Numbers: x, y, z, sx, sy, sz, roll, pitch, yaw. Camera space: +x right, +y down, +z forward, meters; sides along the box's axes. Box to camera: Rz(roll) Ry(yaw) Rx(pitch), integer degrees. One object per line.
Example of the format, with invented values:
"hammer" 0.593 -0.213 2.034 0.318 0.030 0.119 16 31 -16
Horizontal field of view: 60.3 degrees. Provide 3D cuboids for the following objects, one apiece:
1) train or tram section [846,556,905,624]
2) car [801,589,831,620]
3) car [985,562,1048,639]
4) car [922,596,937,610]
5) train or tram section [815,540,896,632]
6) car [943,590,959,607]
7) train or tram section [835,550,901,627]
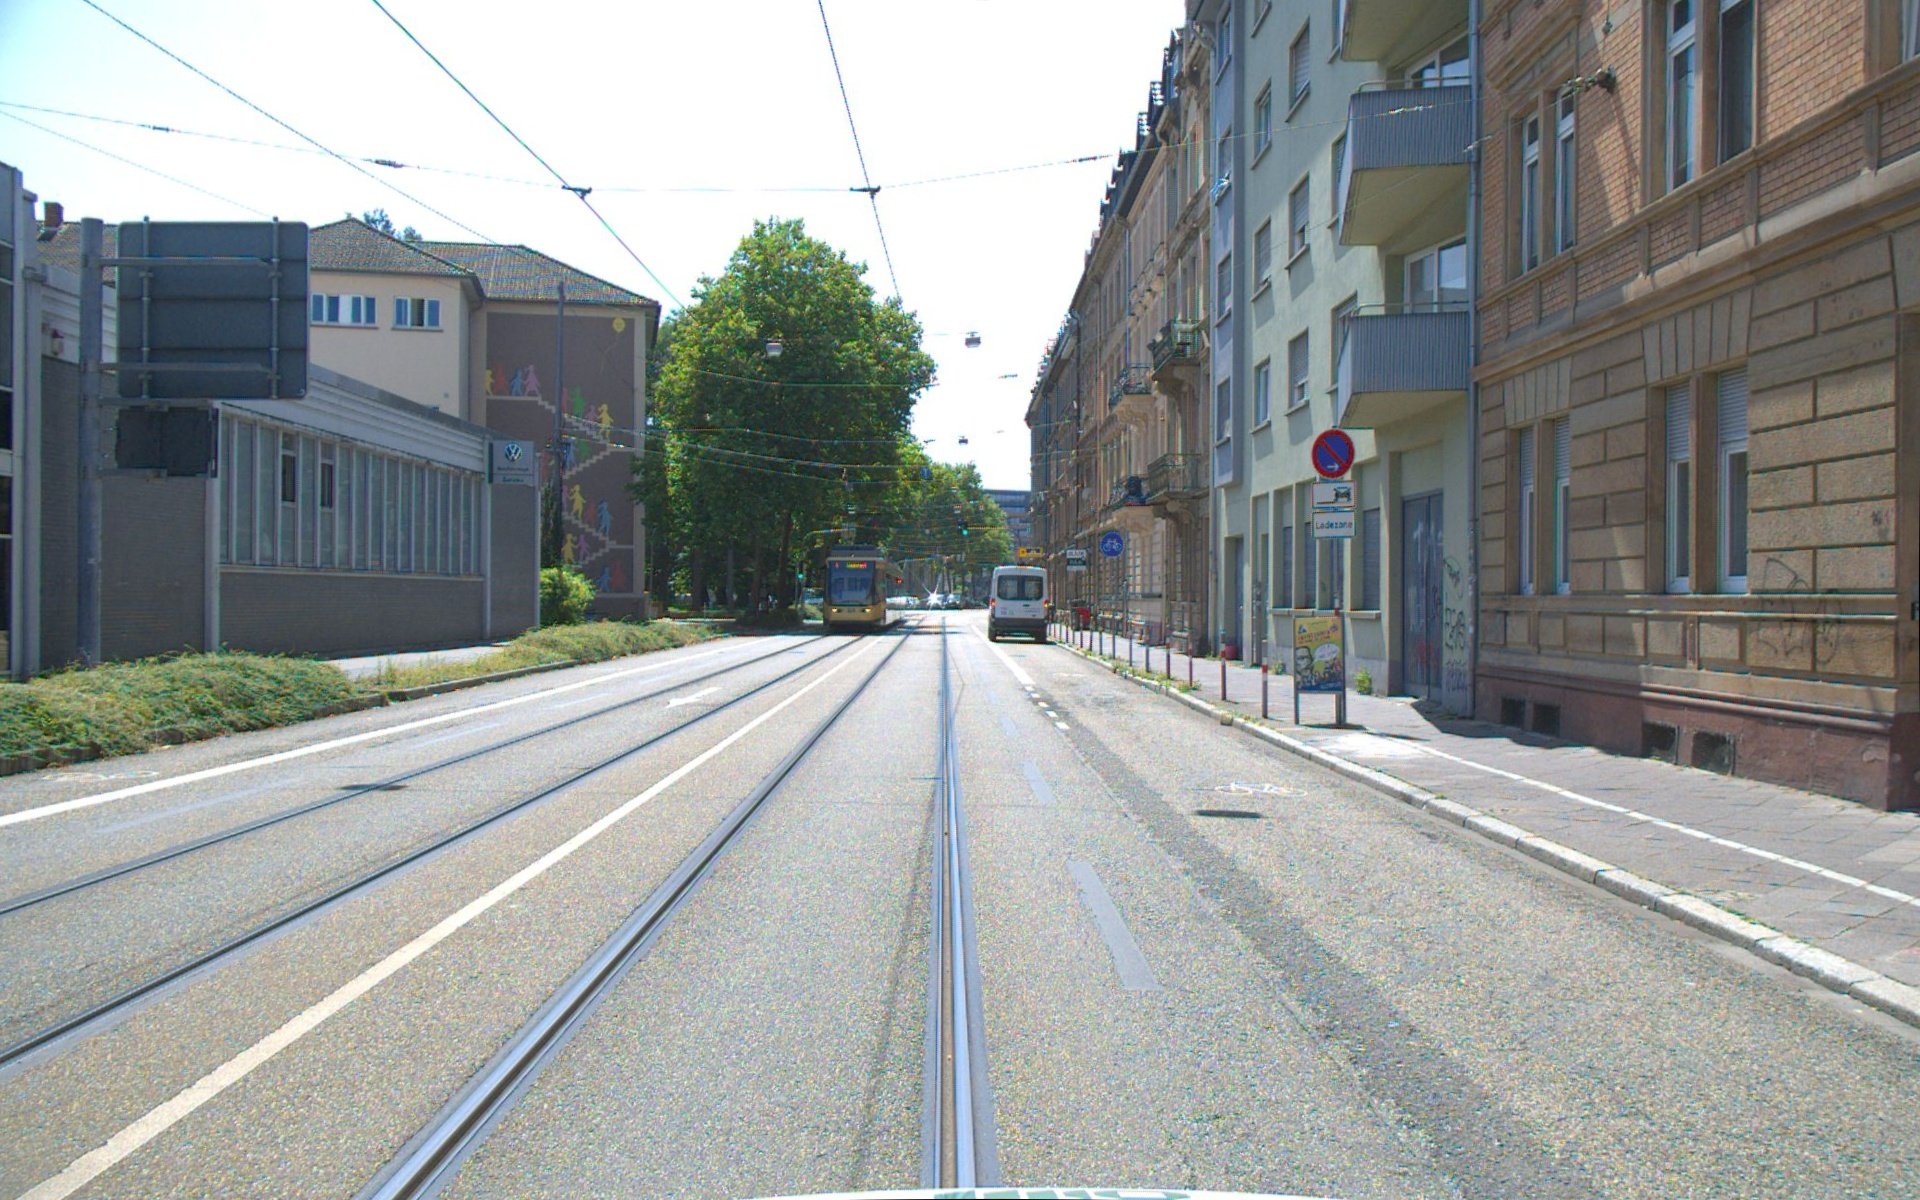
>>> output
"train or tram section" -4.758 -0.572 95.569 2.900 3.643 13.420 0 0 -1
"car" -9.394 0.298 108.136 1.764 1.957 3.998 1 0 -3
"car" 1.936 0.007 58.197 2.025 2.544 5.454 1 0 0
"car" -3.407 0.328 183.273 1.497 1.433 3.488 1 0 -3
"train or tram section" -4.402 -0.589 72.434 2.900 3.643 13.420 0 0 -1
"car" -1.075 -0.190 190.493 1.640 1.892 3.997 1 0 -3
"train or tram section" -4.604 -0.581 85.326 2.900 3.643 13.420 0 0 -1
